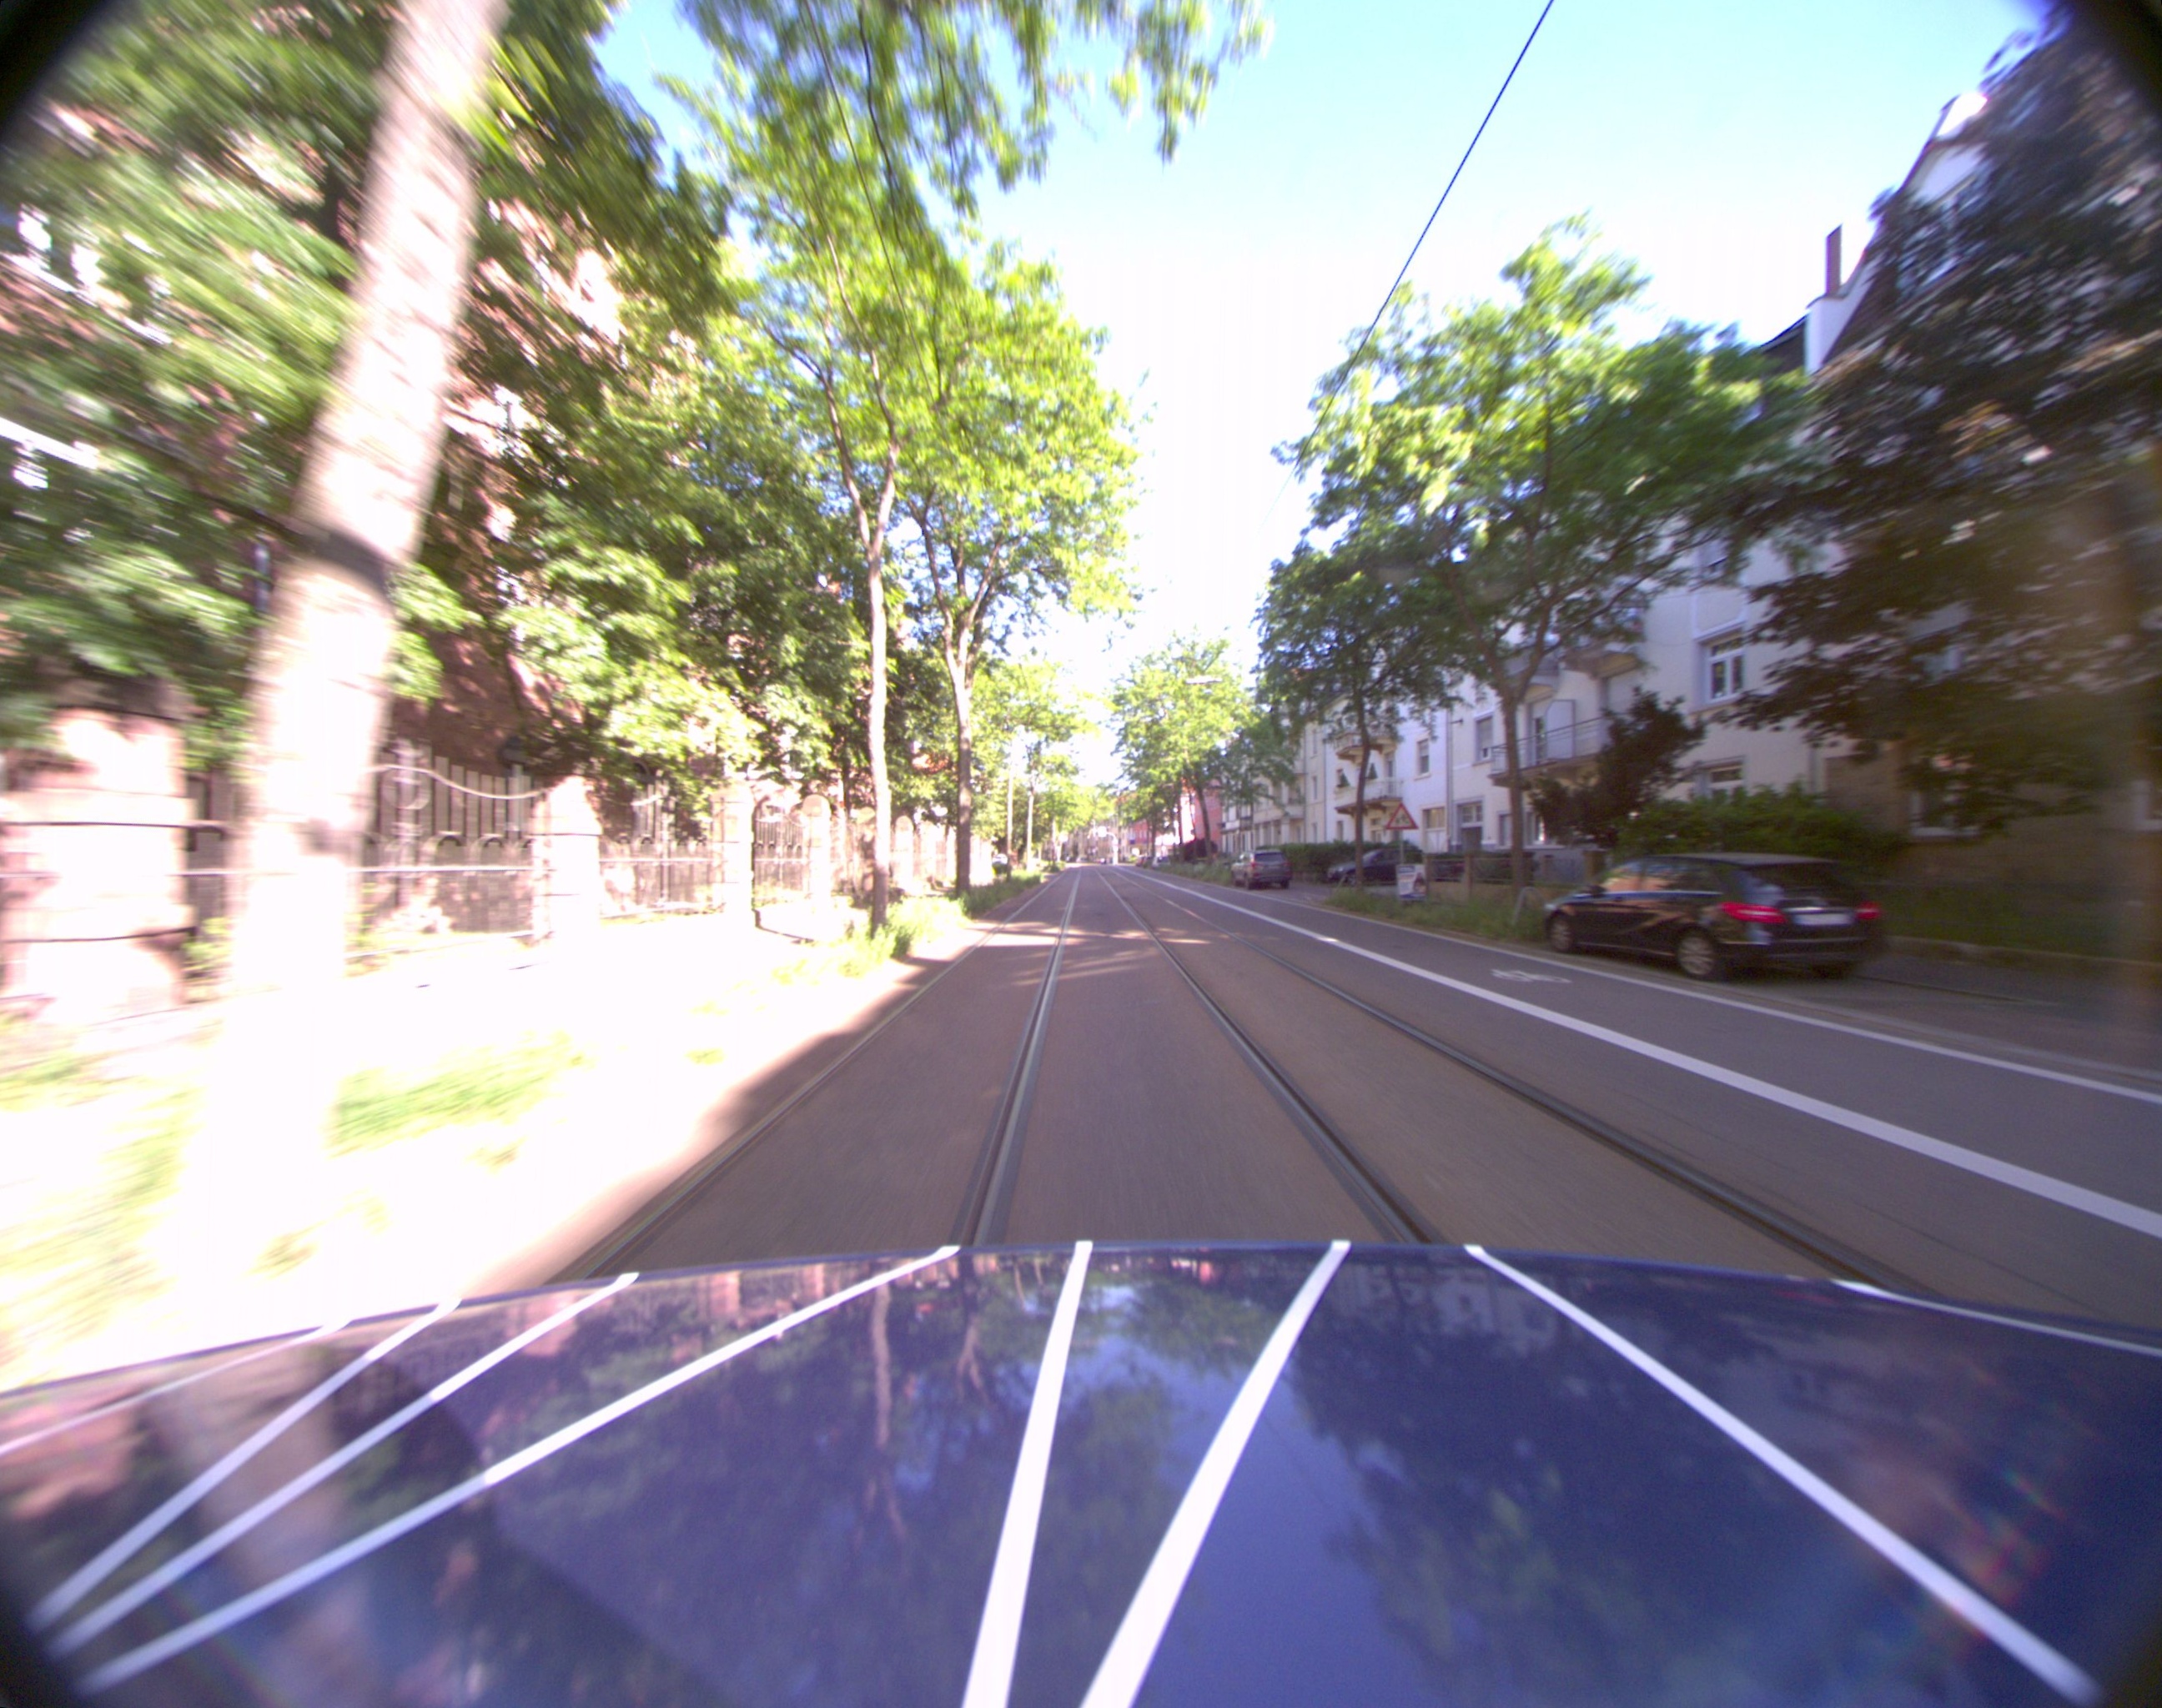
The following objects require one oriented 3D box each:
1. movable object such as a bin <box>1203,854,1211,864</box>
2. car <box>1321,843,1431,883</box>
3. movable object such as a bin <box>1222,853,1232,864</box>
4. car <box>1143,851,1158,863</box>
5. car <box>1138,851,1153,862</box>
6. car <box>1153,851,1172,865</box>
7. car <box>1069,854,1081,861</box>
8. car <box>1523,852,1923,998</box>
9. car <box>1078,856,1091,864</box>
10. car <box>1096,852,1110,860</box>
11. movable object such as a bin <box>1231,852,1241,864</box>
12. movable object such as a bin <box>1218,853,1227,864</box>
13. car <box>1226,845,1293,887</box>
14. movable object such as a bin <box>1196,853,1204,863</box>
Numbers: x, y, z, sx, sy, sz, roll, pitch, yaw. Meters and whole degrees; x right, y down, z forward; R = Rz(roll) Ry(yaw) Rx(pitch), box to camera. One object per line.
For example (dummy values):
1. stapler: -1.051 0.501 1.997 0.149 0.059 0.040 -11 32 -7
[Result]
1. movable object such as a bin: 13.598 0.507 82.158 0.739 1.048 0.895 0 1 0
2. car: 13.516 0.387 35.000 4.311 1.651 1.953 -2 1 2
3. movable object such as a bin: 12.062 0.382 62.787 0.629 0.916 0.740 -2 1 1
4. car: 8.828 0.413 96.194 1.558 1.446 3.667 -1 0 0
5. car: 8.884 0.341 104.958 1.577 1.446 4.095 -1 0 -3
6. car: 9.020 0.409 84.124 1.629 1.526 3.689 -1 0 -1
7. car: -1.284 0.791 165.776 1.880 1.390 3.996 -3 0 -11
8. car: 8.335 0.776 10.563 1.781 1.532 4.485 -2 0 0
9. car: 0.738 1.259 157.619 1.880 1.390 3.996 -3 0 -11
10. car: 4.169 0.465 146.109 1.880 1.390 3.996 -3 0 -11
11. movable object such as a bin: 12.760 0.308 62.585 0.629 0.916 0.740 -2 1 1
12. movable object such as a bin: 15.288 0.473 82.171 0.739 1.107 0.895 0 1 0
13. car: 8.401 0.513 36.191 1.875 1.812 4.770 -1 0 -2
14. movable object such as a bin: 12.841 0.425 82.172 0.739 1.035 0.895 0 1 0
